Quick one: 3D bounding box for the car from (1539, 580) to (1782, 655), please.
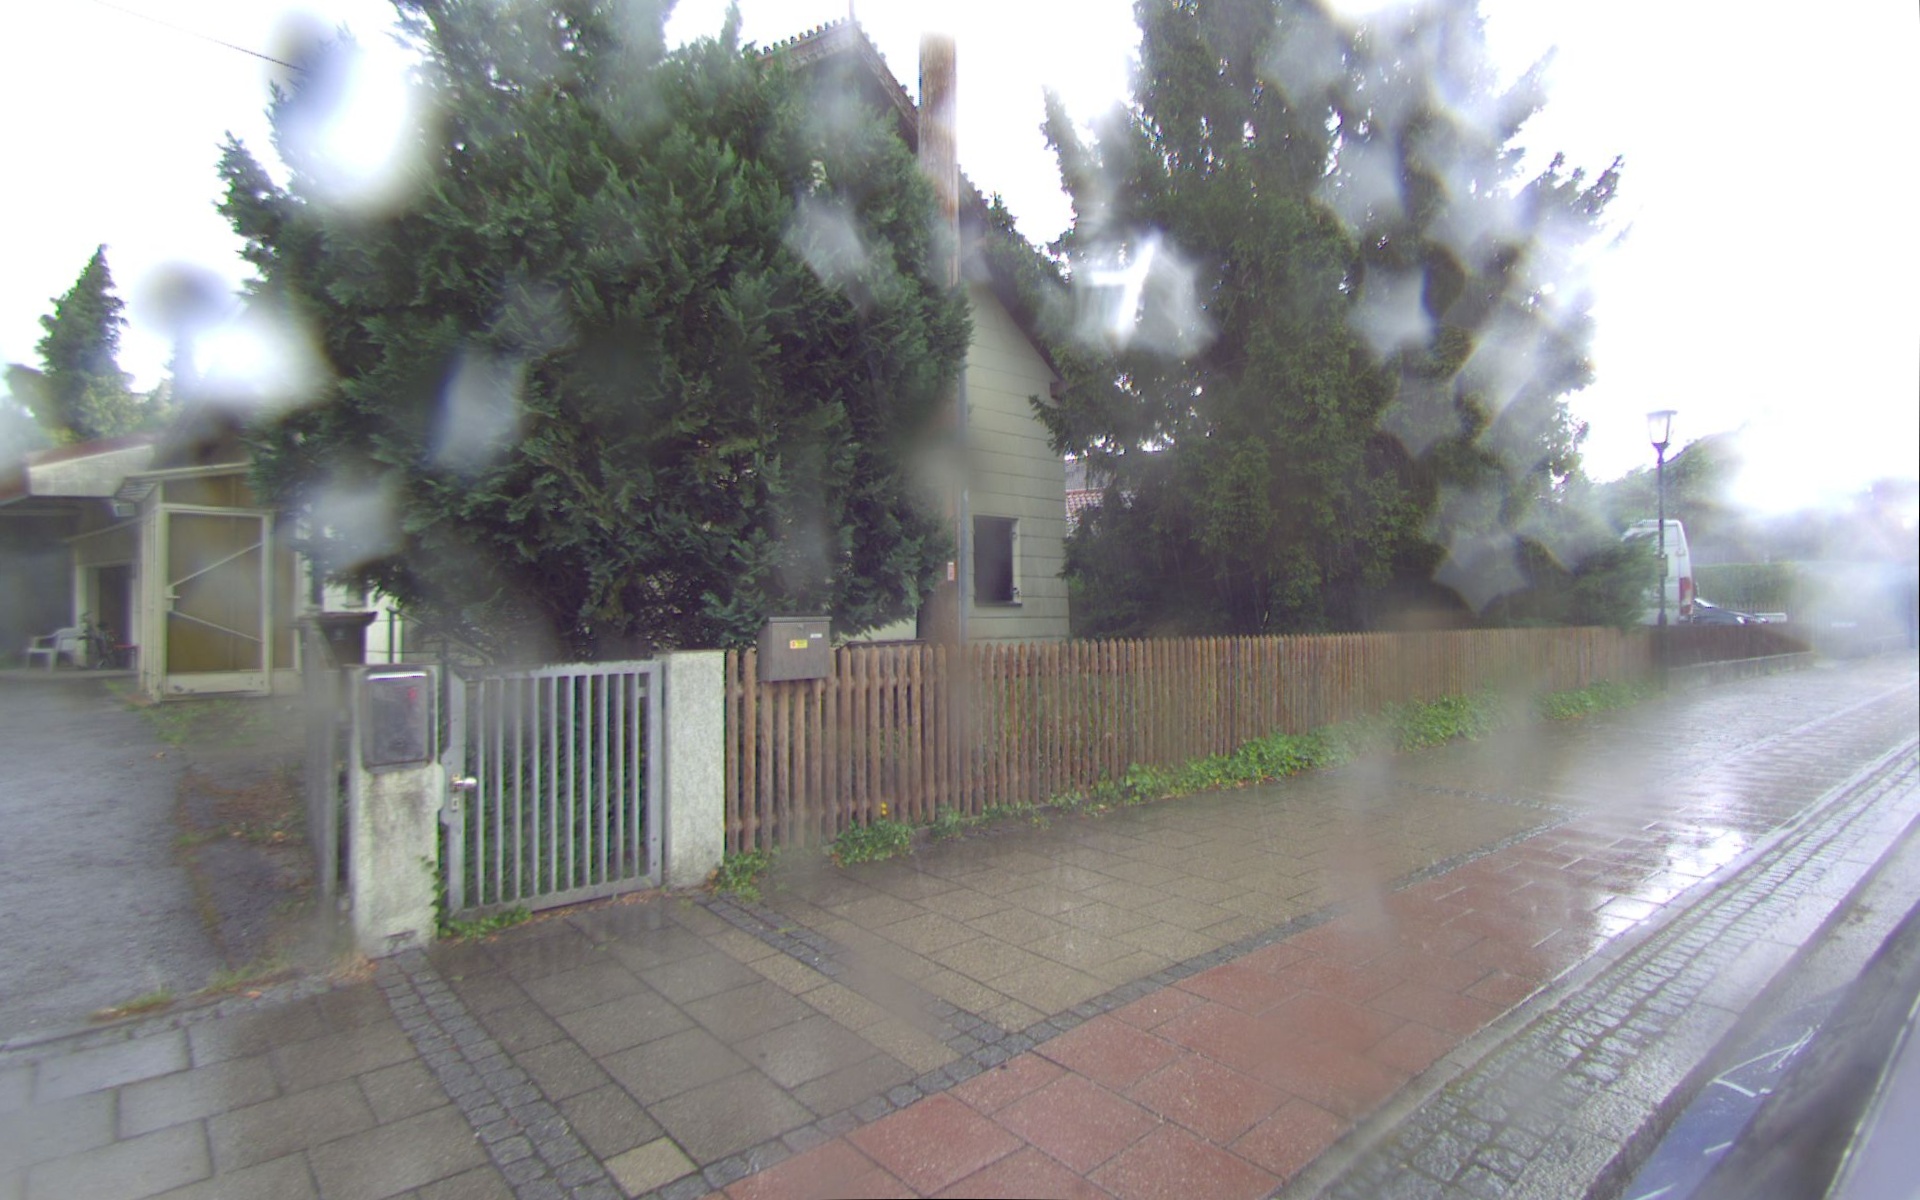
[{"bbox_3d":[16.131,0.332,23.449,4.428,1.438,1.803,3,3,42],"label":"car"}]

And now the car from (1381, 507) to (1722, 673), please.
[{"bbox_3d":[11.084,-0.272,19.253,5.299,2.761,1.971,3,2,41],"label":"car"}]
